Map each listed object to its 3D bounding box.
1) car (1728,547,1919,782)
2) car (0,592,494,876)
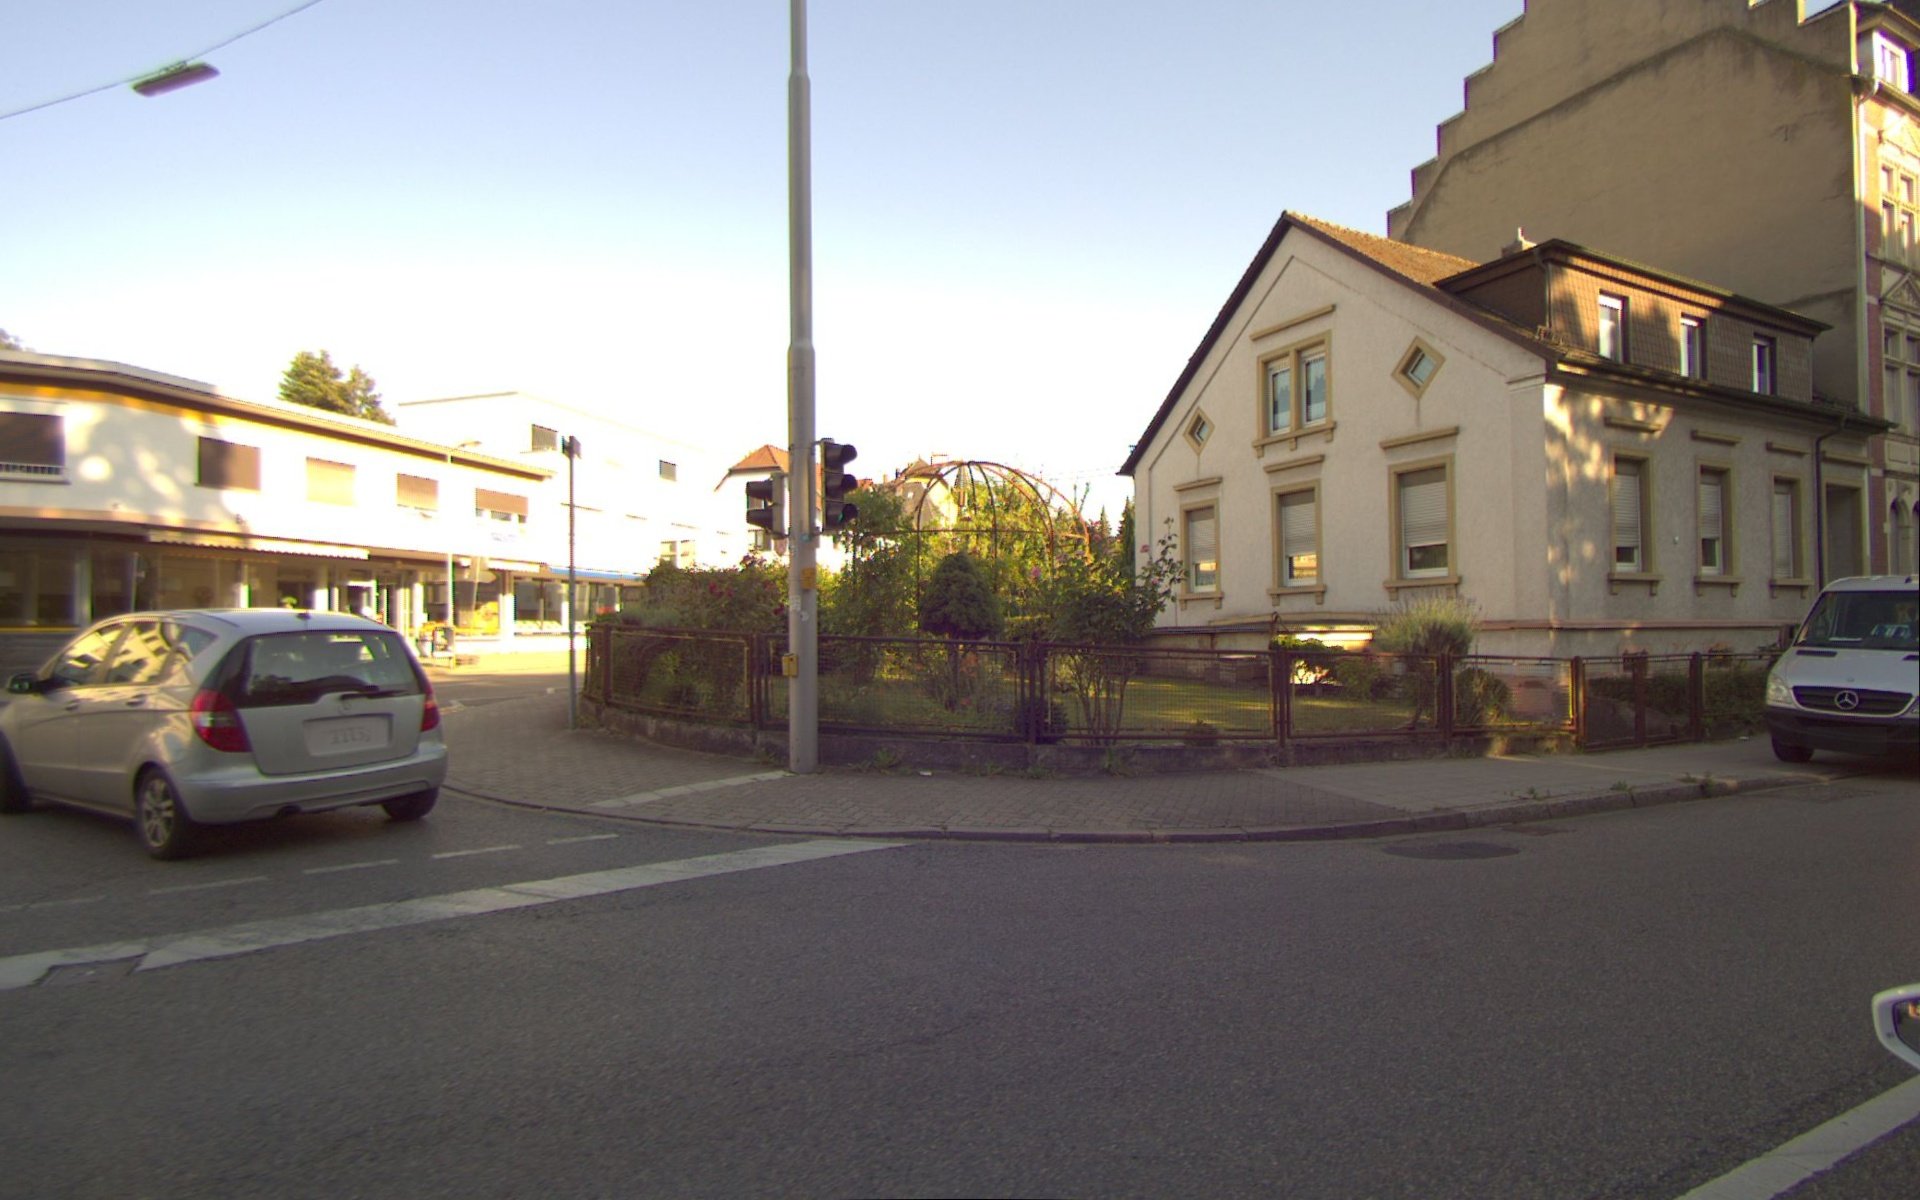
[{"bbox_3d":[12.450,0.731,12.726,5.938,2.493,2.060,1,-1,-28],"label":"car"},{"bbox_3d":[-5.851,0.802,7.770,4.205,1.670,1.957,0,0,28],"label":"car"}]
